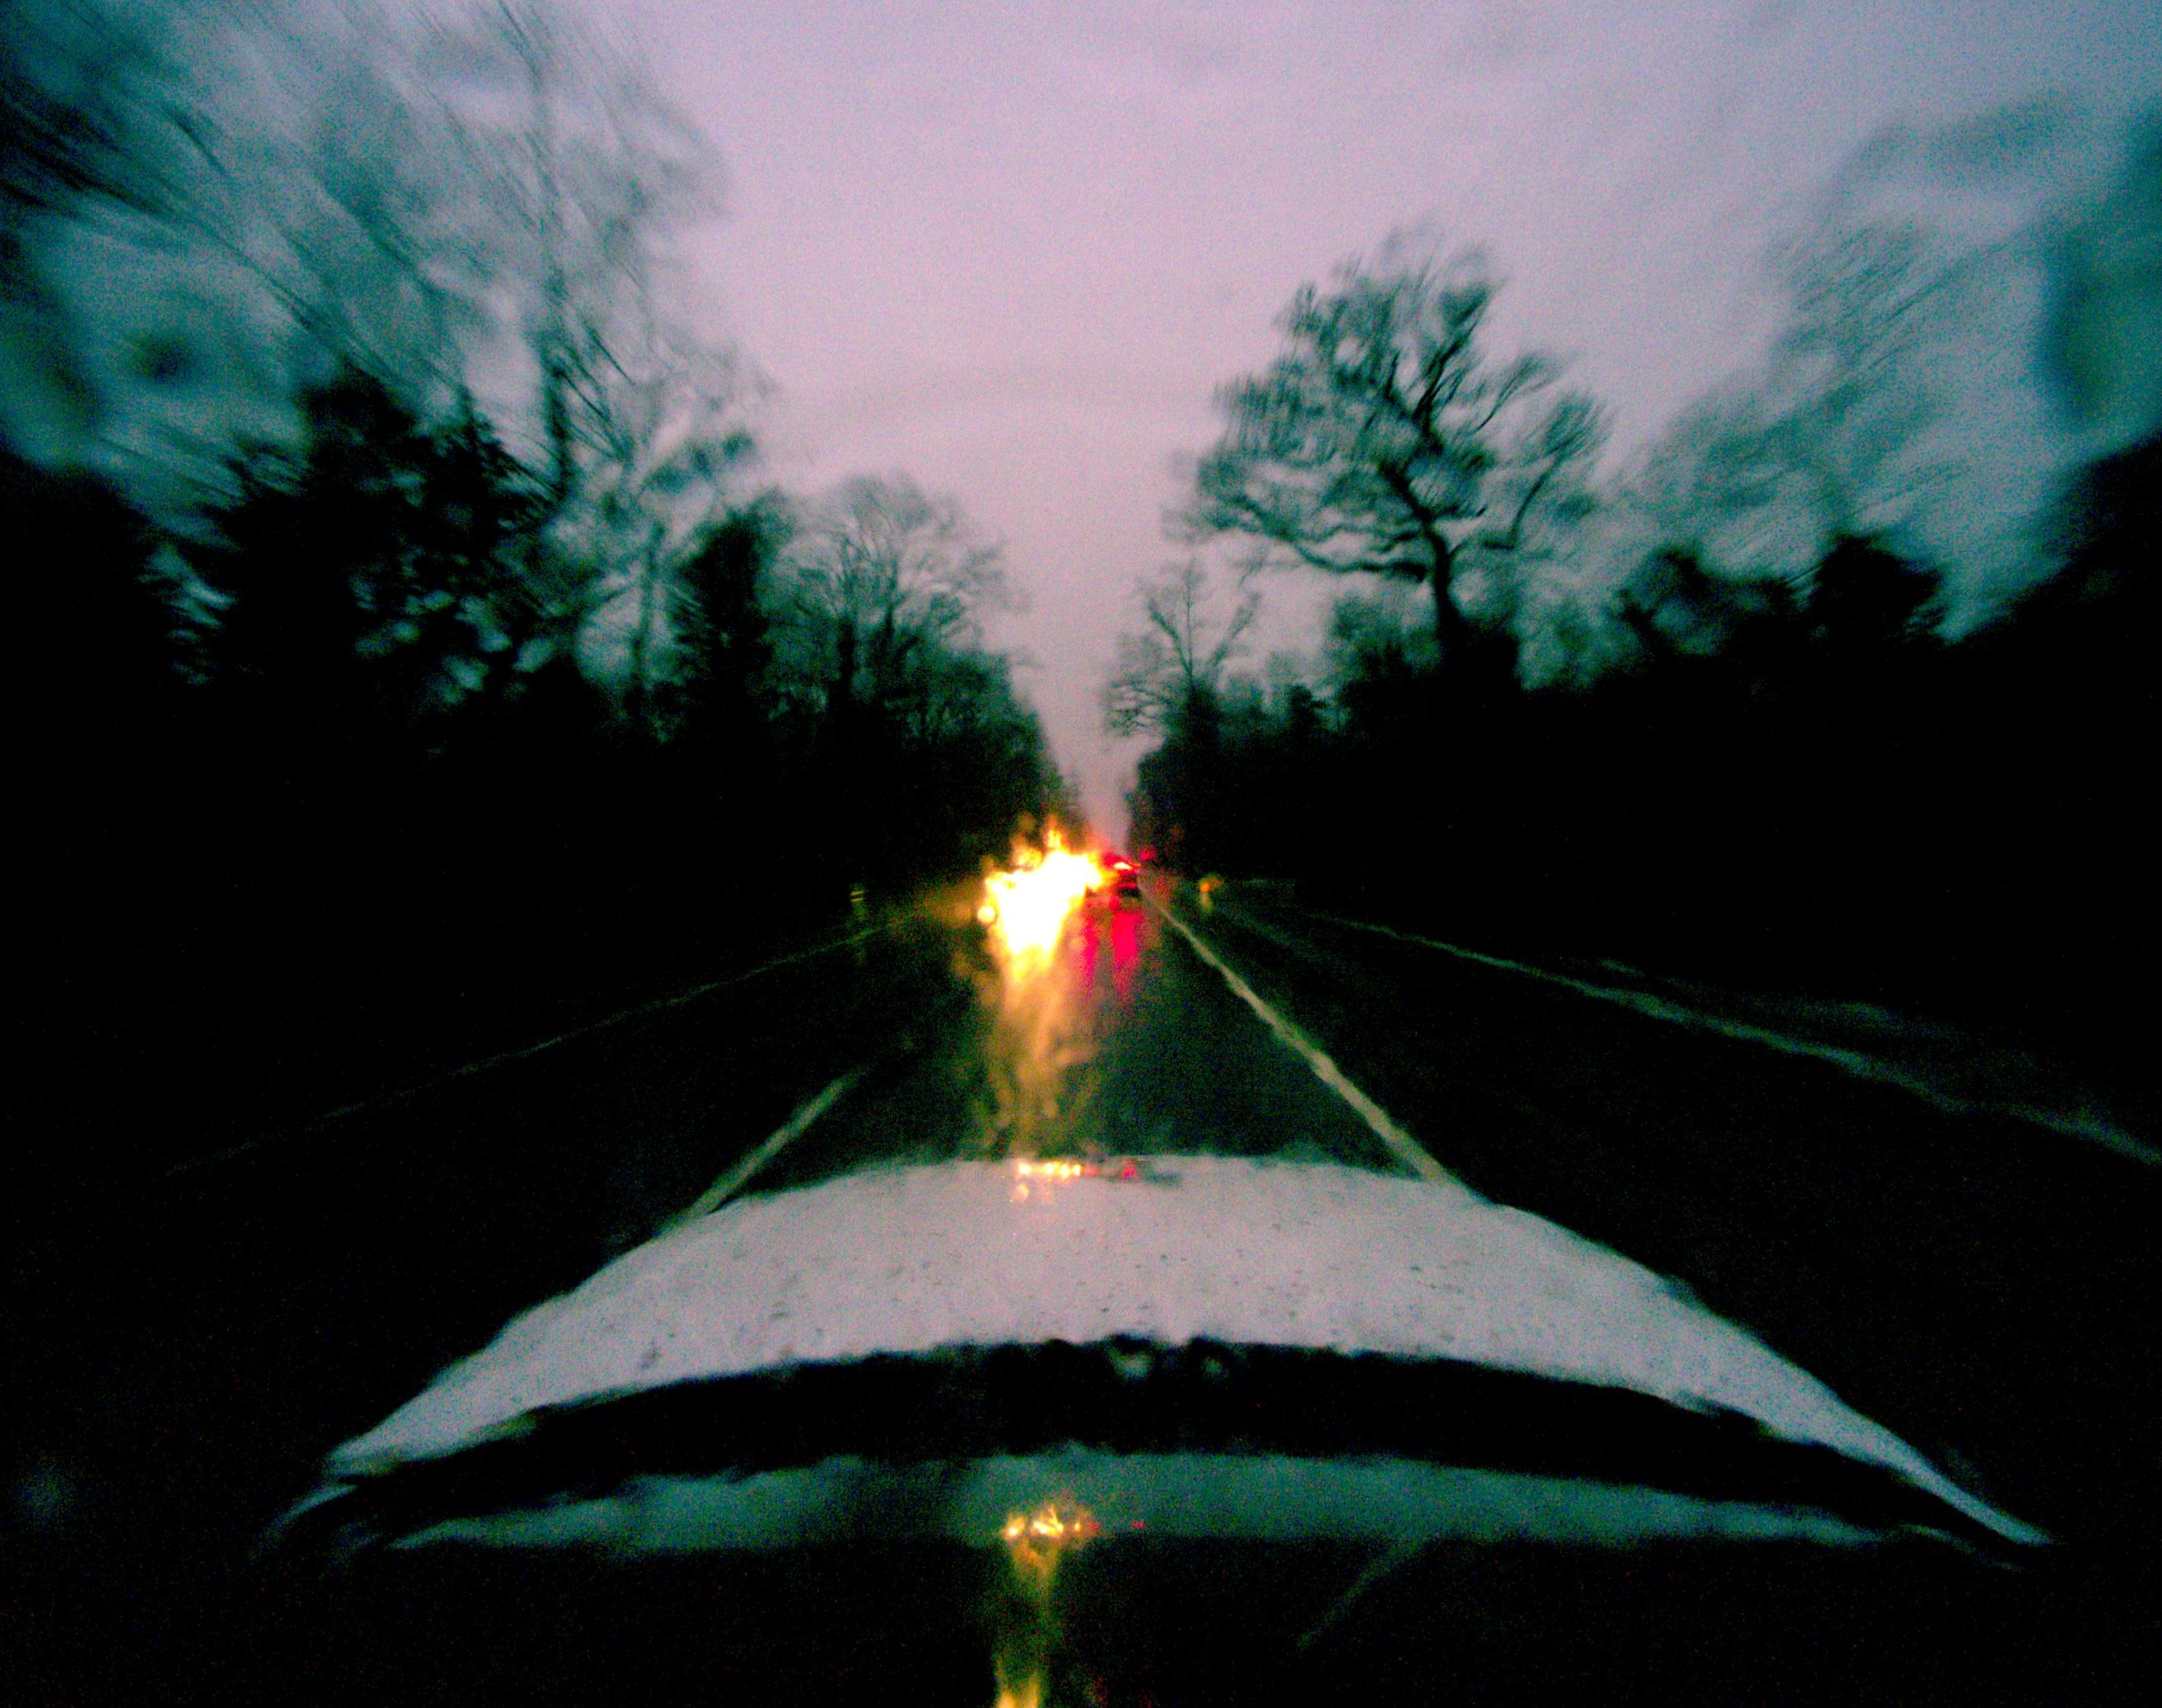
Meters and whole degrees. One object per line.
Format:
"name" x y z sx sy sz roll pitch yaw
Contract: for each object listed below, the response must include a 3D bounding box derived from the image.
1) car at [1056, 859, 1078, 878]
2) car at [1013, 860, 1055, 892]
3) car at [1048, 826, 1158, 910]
"car" -1.323 1.390 79.075 1.911 1.608 5.017 -2 0 1
"car" -2.280 1.049 40.376 1.685 1.420 4.002 -2 0 2
"car" 0.781 0.429 26.994 3.171 2.386 6.640 -1 0 3
